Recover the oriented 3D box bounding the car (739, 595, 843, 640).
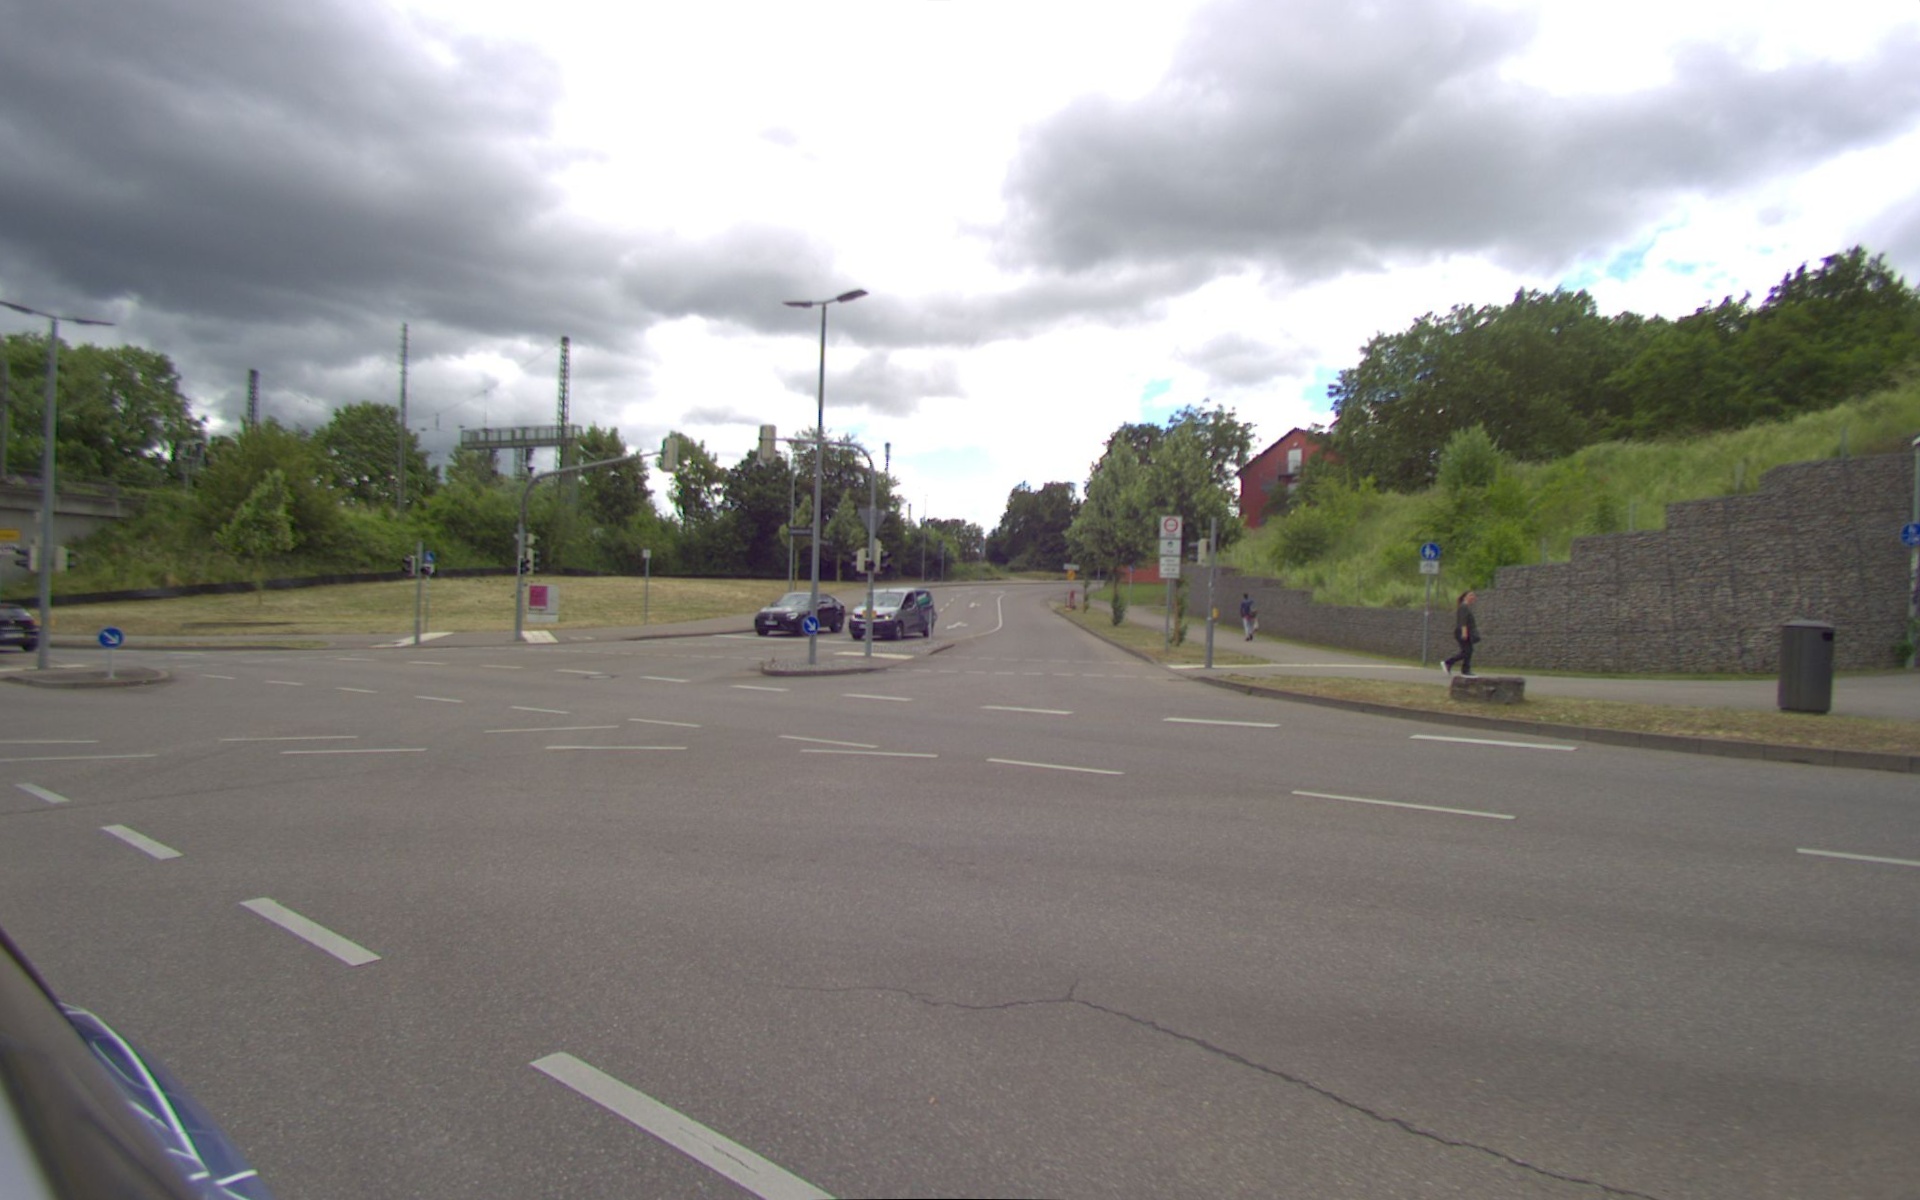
[{"bbox_3d":[-6.293,0.611,38.200,2.094,1.563,4.236,0,0,19],"label":"car"}]

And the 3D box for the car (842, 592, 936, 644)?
[{"bbox_3d":[-2.467,0.590,36.255,1.748,1.741,4.232,0,0,21],"label":"car"}]

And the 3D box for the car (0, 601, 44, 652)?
[{"bbox_3d":[-29.405,0.799,30.323,4.051,1.466,1.742,-1,0,29],"label":"car"}]

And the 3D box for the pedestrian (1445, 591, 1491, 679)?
[{"bbox_3d":[9.209,0.621,18.358,0.617,1.569,0.578,0,0,12],"label":"pedestrian"}]

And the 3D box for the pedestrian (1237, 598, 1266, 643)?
[{"bbox_3d":[10.361,0.713,36.006,0.791,1.569,0.900,0,0,2],"label":"pedestrian"}]
